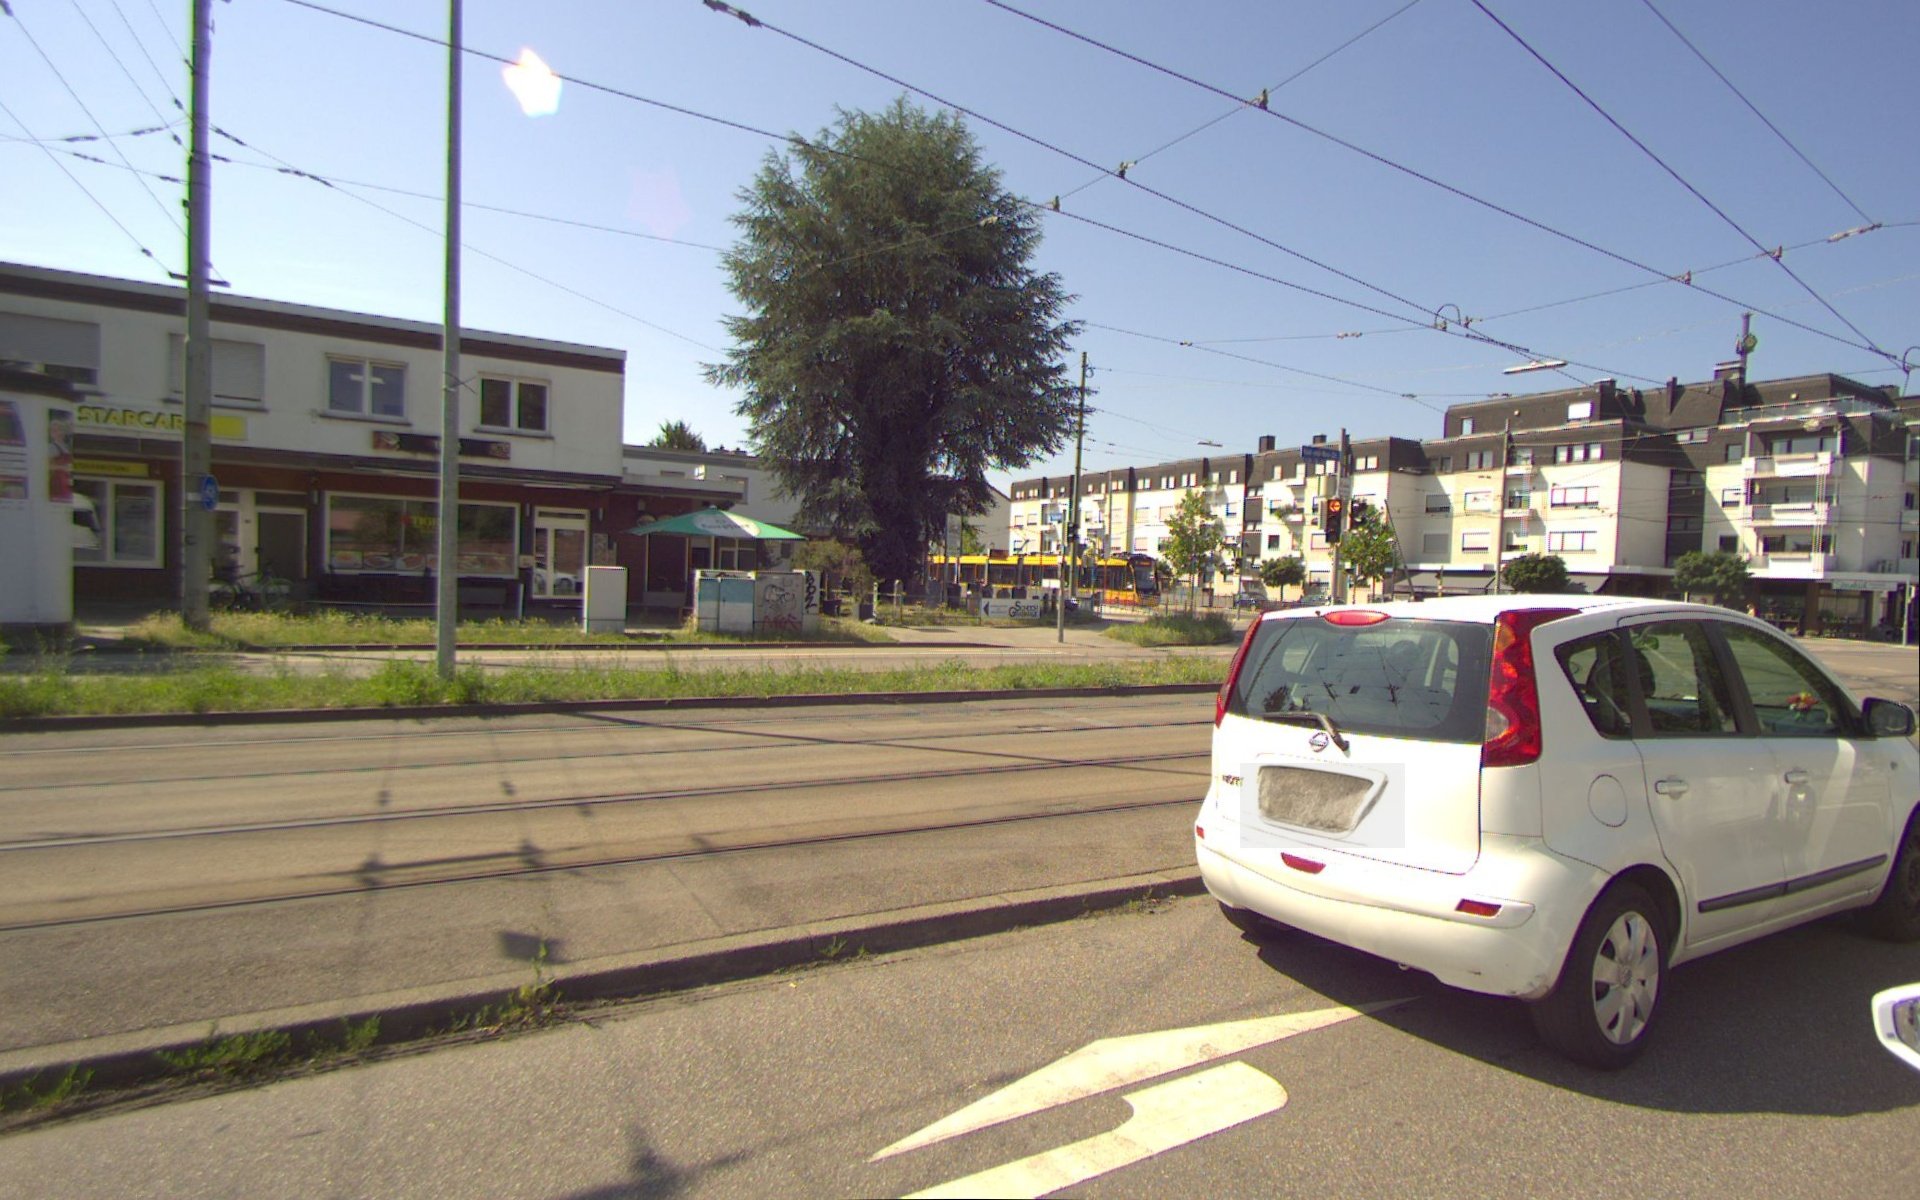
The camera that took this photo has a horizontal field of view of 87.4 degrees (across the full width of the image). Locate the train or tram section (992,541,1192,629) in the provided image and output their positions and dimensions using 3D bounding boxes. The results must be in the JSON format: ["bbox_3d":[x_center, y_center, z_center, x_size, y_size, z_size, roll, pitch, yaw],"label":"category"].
[{"bbox_3d":[8.524,-0.900,69.381,4.681,5.217,16.121,2,-1,-30],"label":"train or tram section"}]

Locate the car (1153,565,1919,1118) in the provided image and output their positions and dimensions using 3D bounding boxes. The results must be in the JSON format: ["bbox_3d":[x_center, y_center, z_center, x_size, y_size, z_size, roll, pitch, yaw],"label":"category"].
[{"bbox_3d":[2.850,0.702,4.551,3.759,1.587,1.634,0,0,-31],"label":"car"}]

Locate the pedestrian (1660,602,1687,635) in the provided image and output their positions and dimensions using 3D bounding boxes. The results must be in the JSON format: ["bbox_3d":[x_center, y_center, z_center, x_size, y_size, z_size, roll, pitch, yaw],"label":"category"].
[{"bbox_3d":[39.200,1.000,55.177,0.955,1.766,0.865,2,-1,17],"label":"pedestrian"}]

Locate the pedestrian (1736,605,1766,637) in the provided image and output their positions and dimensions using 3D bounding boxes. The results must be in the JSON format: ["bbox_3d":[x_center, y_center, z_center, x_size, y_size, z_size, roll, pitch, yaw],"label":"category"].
[{"bbox_3d":[43.685,1.161,55.493,0.956,1.766,0.864,2,-1,-3],"label":"pedestrian"}]

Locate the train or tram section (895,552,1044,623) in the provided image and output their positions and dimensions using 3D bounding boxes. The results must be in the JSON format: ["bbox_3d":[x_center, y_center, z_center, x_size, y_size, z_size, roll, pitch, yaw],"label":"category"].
[{"bbox_3d":[0.368,-0.935,83.282,4.681,5.217,16.121,2,-1,-30],"label":"train or tram section"}]

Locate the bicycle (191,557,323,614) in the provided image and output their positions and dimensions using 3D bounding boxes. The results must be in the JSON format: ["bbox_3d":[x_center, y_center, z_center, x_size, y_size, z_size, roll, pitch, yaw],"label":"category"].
[{"bbox_3d":[-15.524,-0.296,22.265,2.306,1.167,0.783,2,-1,-30],"label":"bicycle"}]
